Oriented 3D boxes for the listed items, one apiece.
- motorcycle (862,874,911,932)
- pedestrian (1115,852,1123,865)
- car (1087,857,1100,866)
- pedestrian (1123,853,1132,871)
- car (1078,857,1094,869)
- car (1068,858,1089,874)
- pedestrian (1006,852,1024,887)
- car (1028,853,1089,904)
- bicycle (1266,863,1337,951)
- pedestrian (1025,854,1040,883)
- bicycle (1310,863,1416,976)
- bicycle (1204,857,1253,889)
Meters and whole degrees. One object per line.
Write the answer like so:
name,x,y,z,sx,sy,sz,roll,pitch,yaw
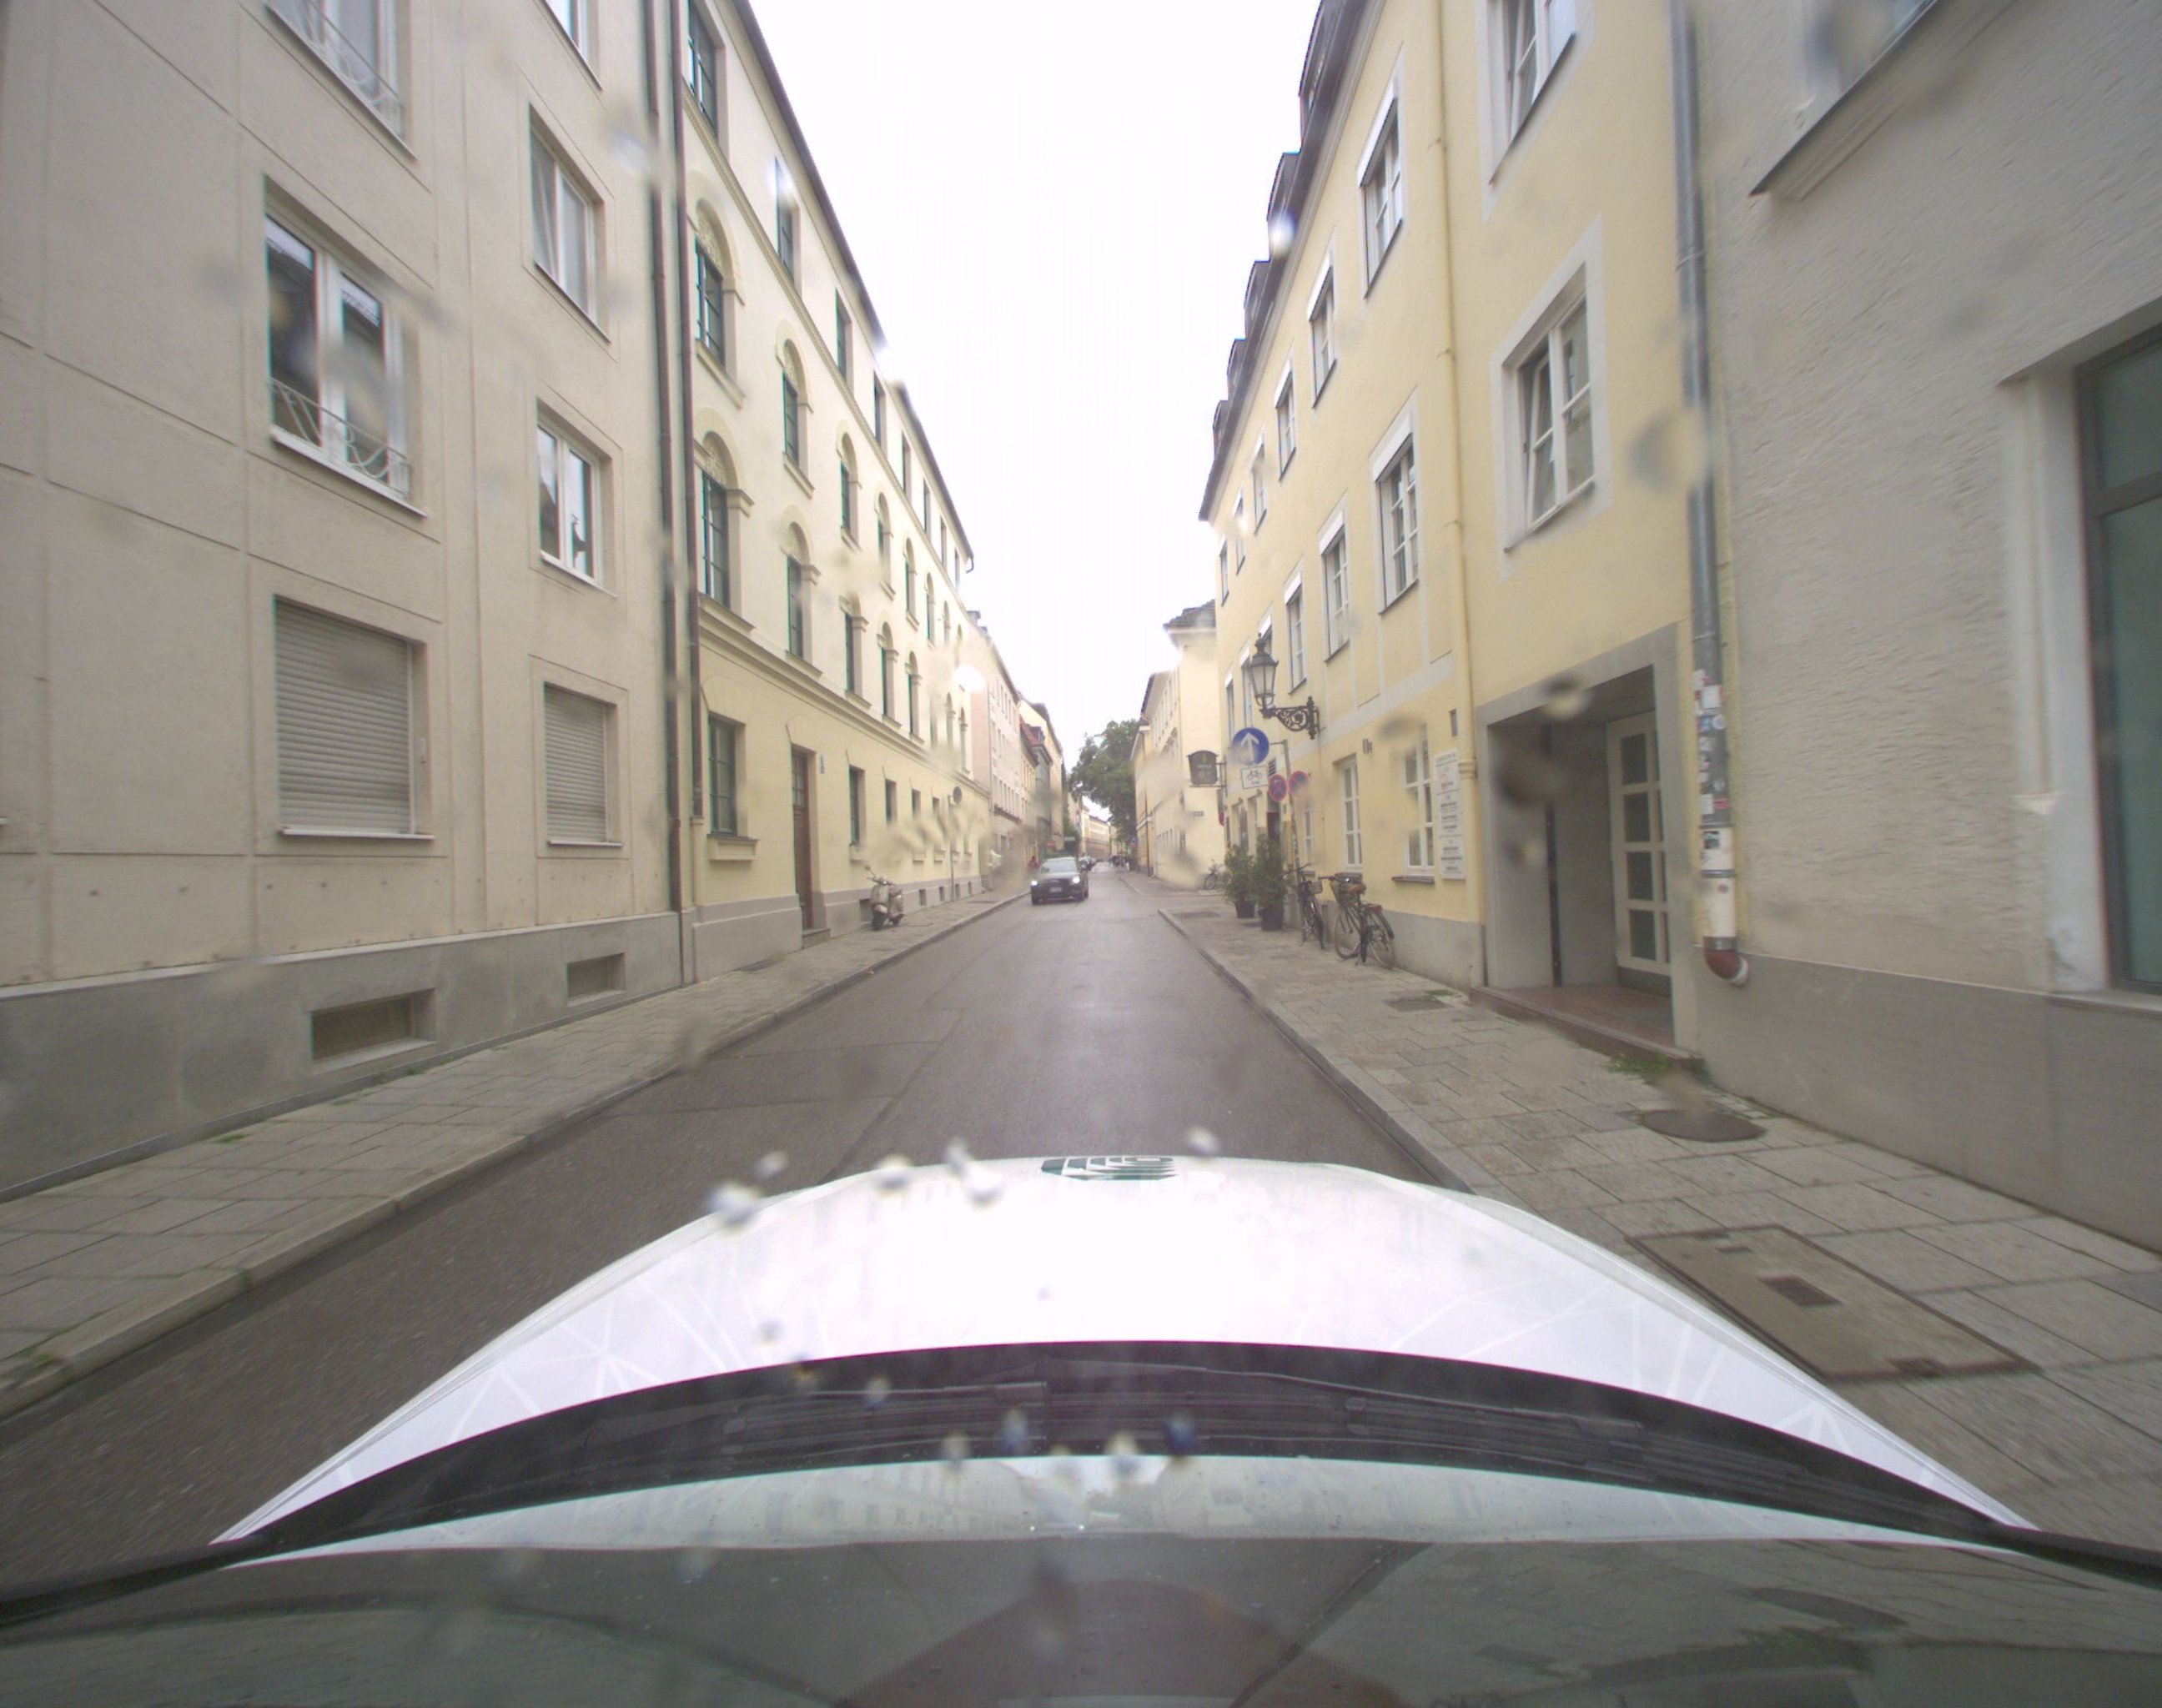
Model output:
motorcycle,-4.248,1.045,17.886,0.600,1.174,1.709,-2,0,2
pedestrian,5.394,0.640,115.769,1.011,1.802,1.350,-1,0,2
car,2.063,1.175,130.872,1.771,1.466,3.546,-1,0,4
pedestrian,4.776,0.835,84.075,0.877,1.802,1.047,-1,0,2
car,0.660,1.109,101.153,1.771,1.466,3.546,-1,0,4
car,-0.259,1.157,81.131,1.771,1.466,3.667,-1,0,4
pedestrian,-3.457,0.811,42.558,0.807,1.755,0.989,-1,1,-1
car,-0.735,0.804,28.827,1.805,1.594,4.003,-2,0,3
bicycle,3.169,0.722,11.862,0.563,1.137,1.685,-4,0,2
pedestrian,-2.872,0.857,48.363,0.763,1.708,0.785,-2,0,-1
bicycle,3.274,0.704,9.640,0.563,1.137,1.989,-4,0,2
bicycle,5.719,0.730,31.544,1.751,1.144,0.586,-3,2,1
